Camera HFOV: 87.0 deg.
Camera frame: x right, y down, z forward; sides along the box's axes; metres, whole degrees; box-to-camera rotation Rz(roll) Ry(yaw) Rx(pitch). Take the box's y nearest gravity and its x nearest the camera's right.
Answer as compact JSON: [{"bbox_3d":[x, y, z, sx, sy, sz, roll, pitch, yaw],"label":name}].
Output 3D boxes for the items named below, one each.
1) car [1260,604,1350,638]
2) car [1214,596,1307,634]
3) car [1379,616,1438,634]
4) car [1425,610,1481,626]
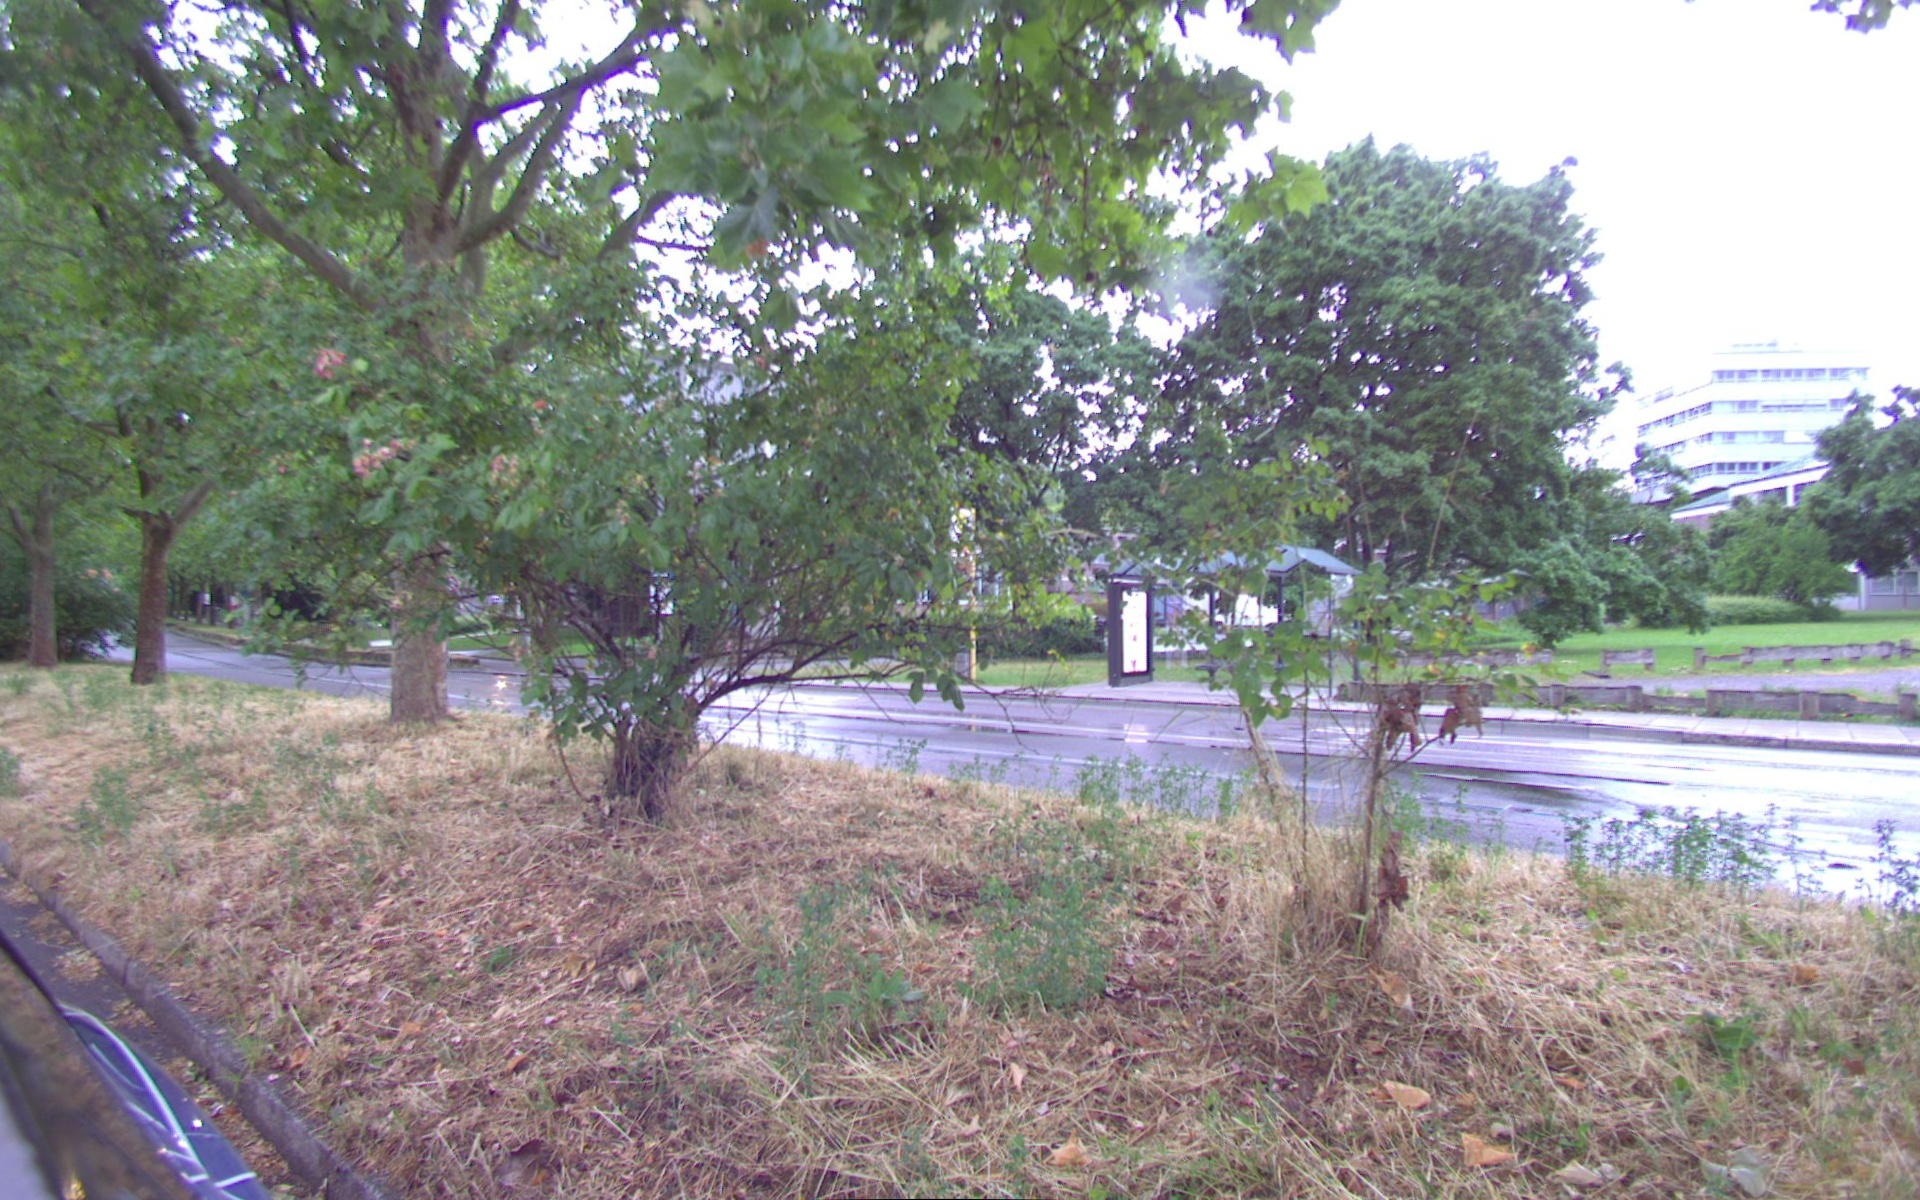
[{"bbox_3d":[22.088,1.303,64.879,2.251,2.037,5.091,-1,1,-36],"label":"car"},{"bbox_3d":[18.612,0.873,62.912,2.080,2.229,5.483,-1,1,-33],"label":"car"},{"bbox_3d":[32.242,1.791,72.768,1.566,1.151,3.564,-1,1,-37],"label":"car"},{"bbox_3d":[37.715,1.368,77.484,1.566,1.151,3.564,-1,1,-37],"label":"car"}]
